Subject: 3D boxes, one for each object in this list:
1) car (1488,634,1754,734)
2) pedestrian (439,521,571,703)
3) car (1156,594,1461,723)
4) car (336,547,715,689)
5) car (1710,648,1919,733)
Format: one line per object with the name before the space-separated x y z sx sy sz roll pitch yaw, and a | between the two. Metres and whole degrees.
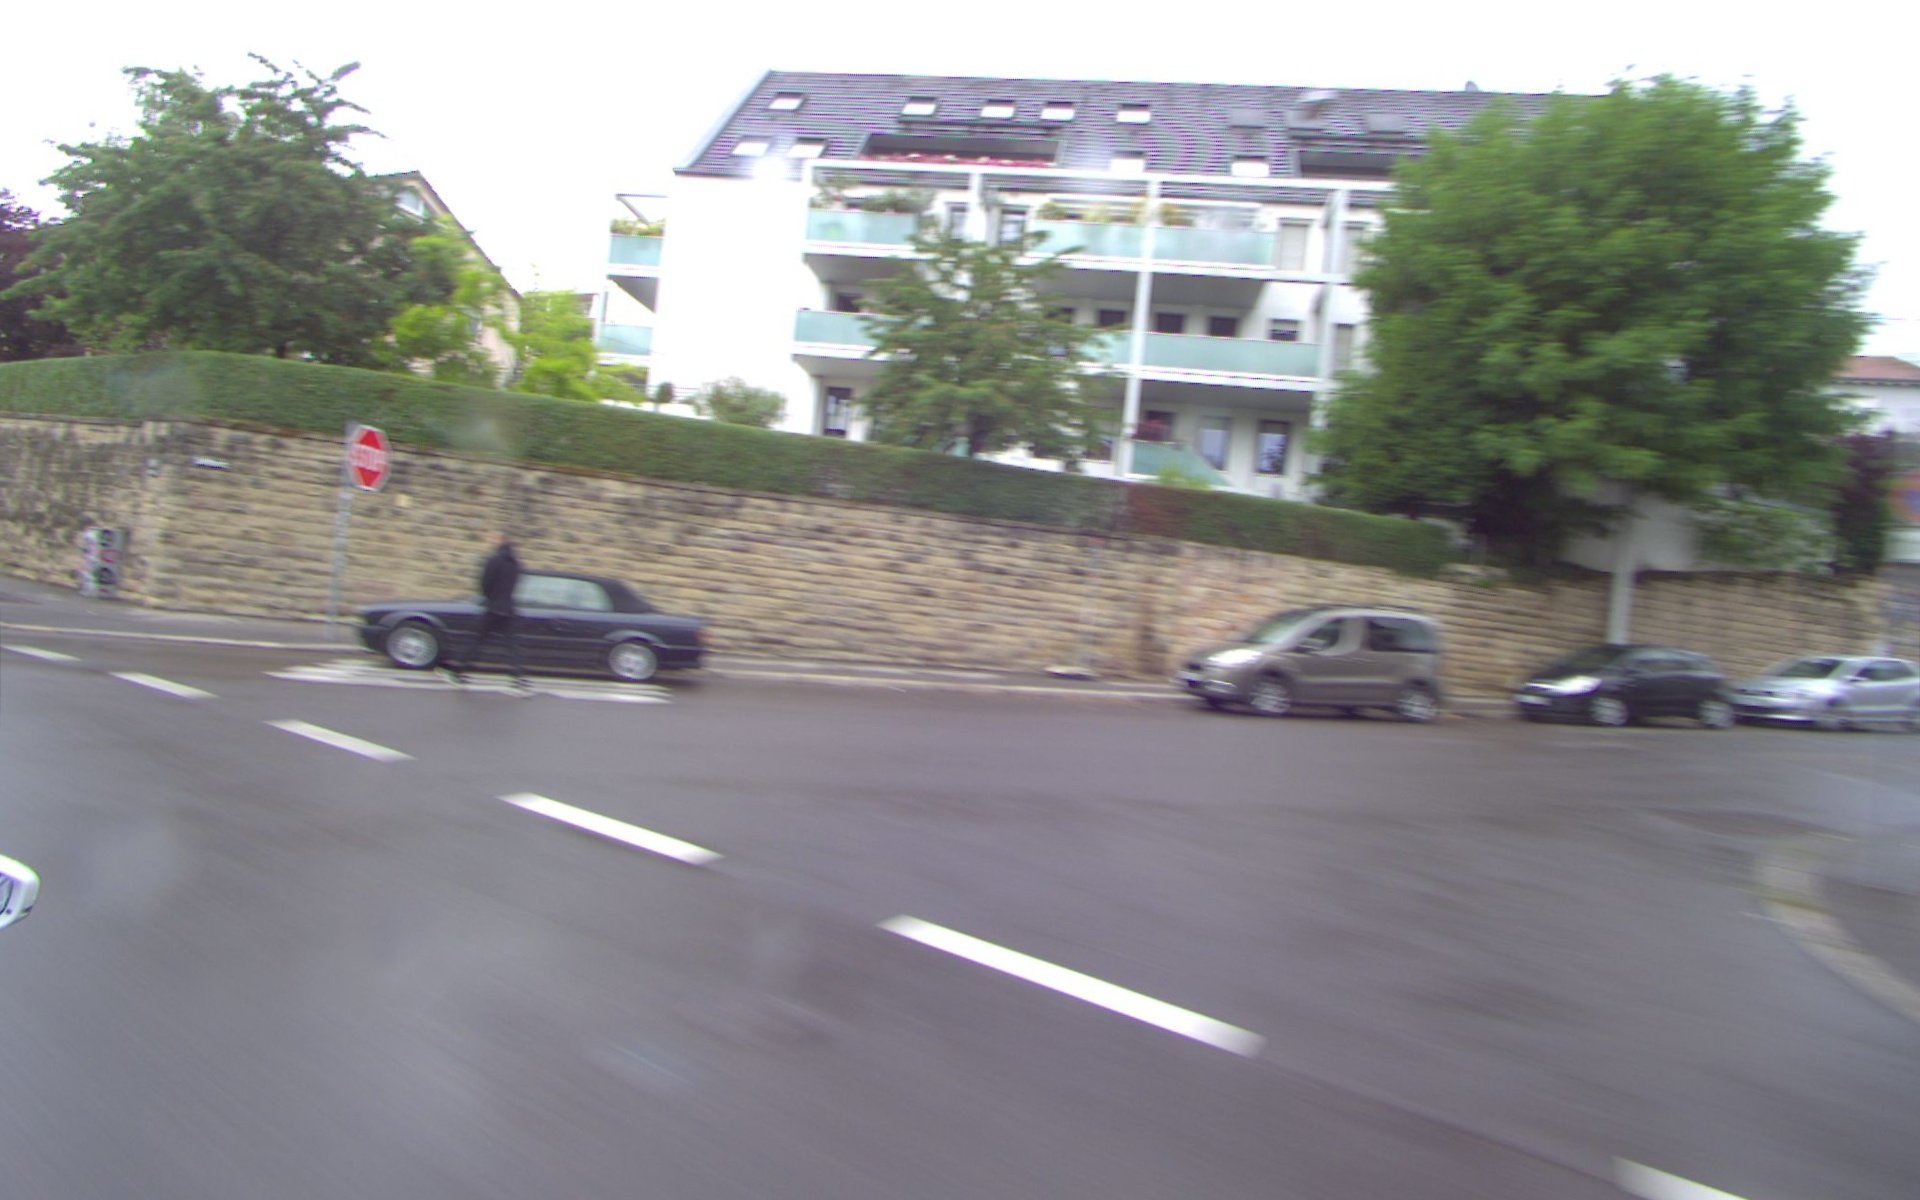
car | 11.917 1.503 18.207 3.935 1.473 1.795 4 0 -15
pedestrian | -4.687 0.121 10.373 0.890 1.737 0.724 7 1 32
car | 5.607 0.933 16.297 4.344 1.763 1.820 4 0 -16
car | -5.458 0.261 13.173 4.212 1.410 1.746 5 0 -17
car | 17.231 1.766 19.696 4.264 1.472 1.680 2 0 -12
